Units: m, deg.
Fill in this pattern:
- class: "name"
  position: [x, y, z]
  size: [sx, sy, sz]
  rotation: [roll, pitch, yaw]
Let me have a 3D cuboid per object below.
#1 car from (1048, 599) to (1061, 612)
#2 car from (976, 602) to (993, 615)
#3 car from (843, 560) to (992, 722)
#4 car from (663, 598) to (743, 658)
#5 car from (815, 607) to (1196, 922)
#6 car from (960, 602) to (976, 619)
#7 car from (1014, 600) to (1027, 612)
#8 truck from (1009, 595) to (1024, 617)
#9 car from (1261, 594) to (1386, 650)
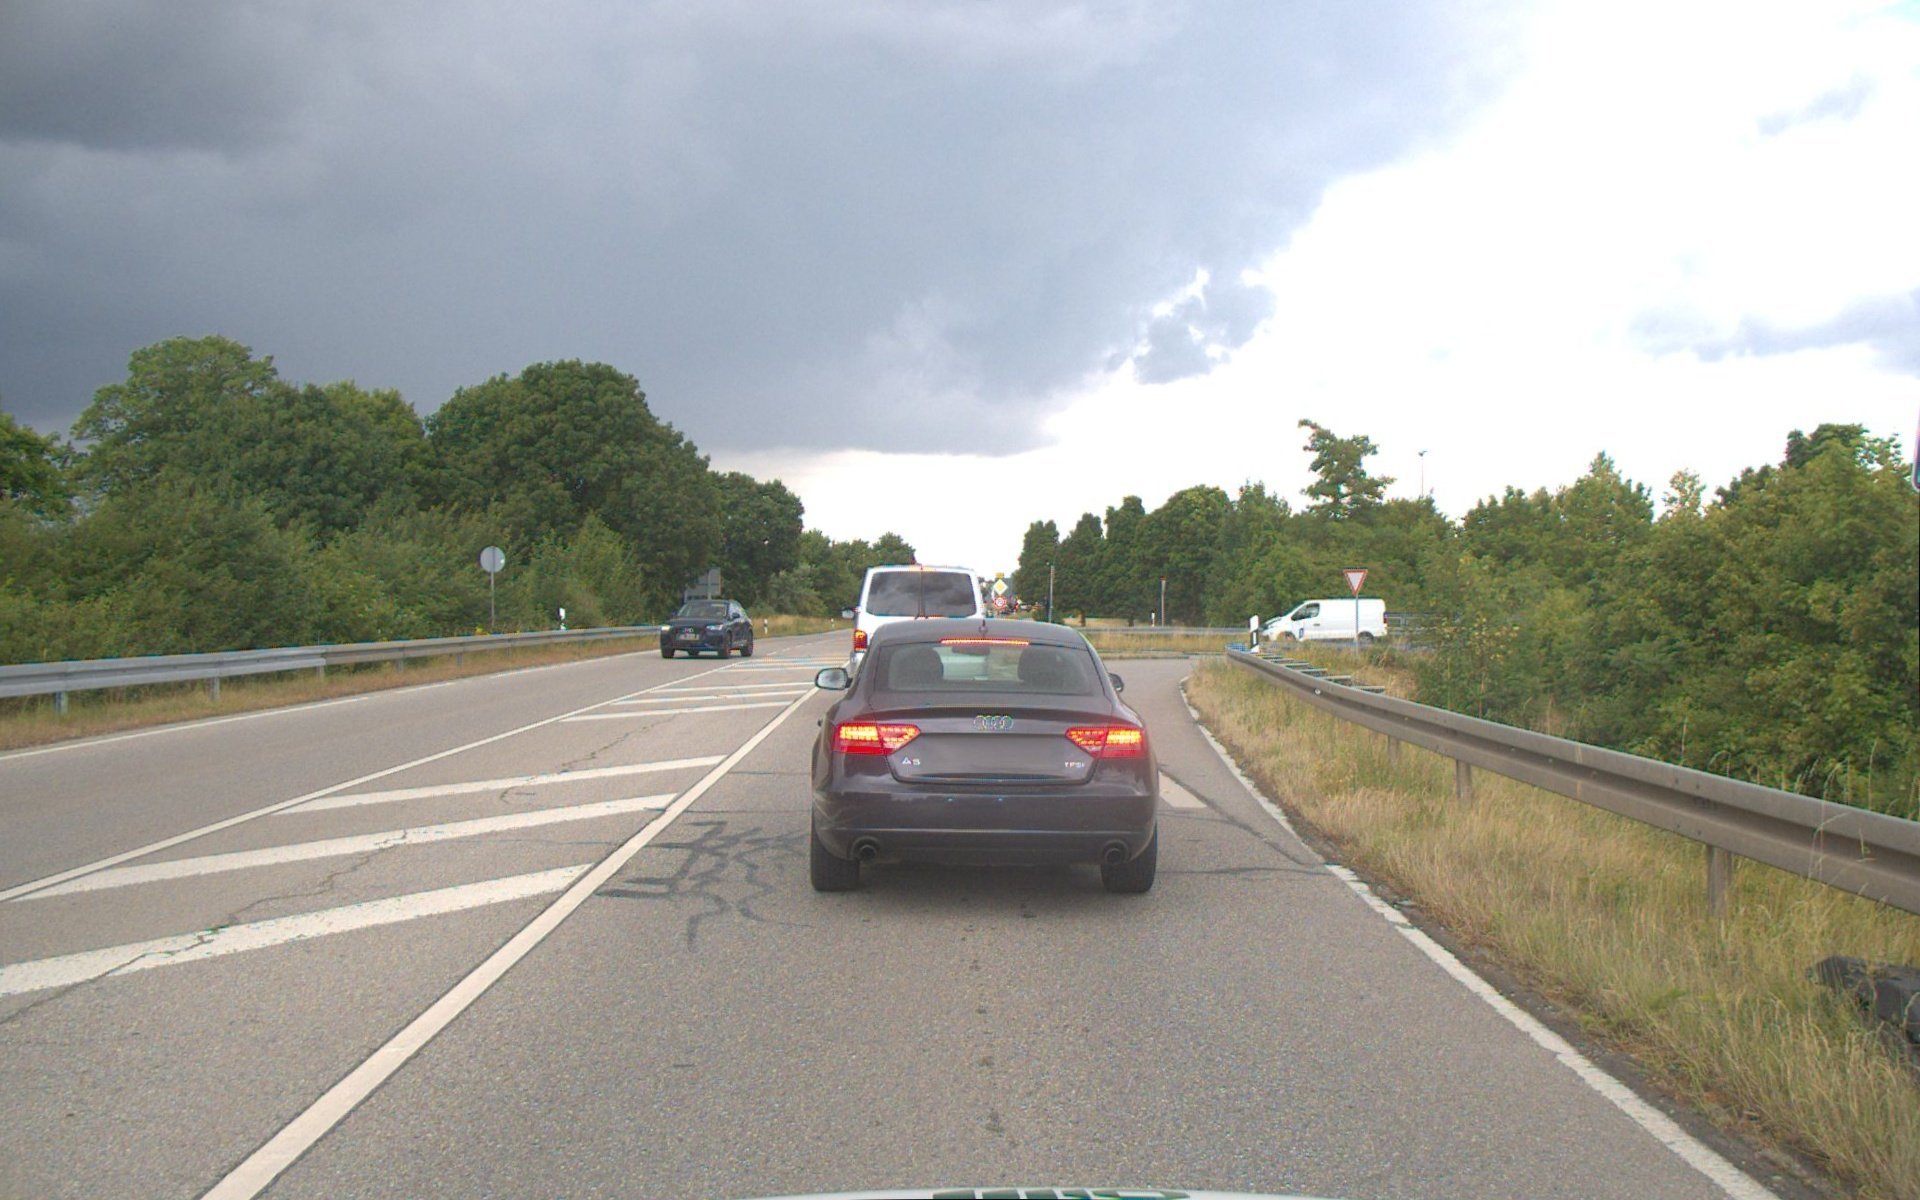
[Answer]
- class: "car"
  position: [13.698, 0.794, 239.054]
  size: [1.836, 1.722, 4.002]
  rotation: [1, 0, 4]
- class: "car"
  position: [3.365, 1.183, 230.582]
  size: [2.161, 1.610, 4.377]
  rotation: [1, 0, -2]
- class: "car"
  position: [-0.613, 0.520, 23.205]
  size: [1.872, 2.049, 3.998]
  rotation: [1, 0, -2]
- class: "car"
  position: [-7.088, 0.749, 45.940]
  size: [1.675, 1.545, 4.208]
  rotation: [1, 0, -2]
- class: "car"
  position: [0.149, 0.764, 9.256]
  size: [1.744, 1.423, 3.335]
  rotation: [0, 0, -2]
- class: "car"
  position: [1.007, 1.364, 210.784]
  size: [1.952, 2.049, 4.000]
  rotation: [1, 0, 0]
- class: "car"
  position: [8.988, 0.828, 245.984]
  size: [1.952, 1.722, 4.000]
  rotation: [1, 0, 1]
- class: "truck"
  position: [7.704, 0.807, 227.808]
  size: [1.952, 2.969, 5.794]
  rotation: [1, 0, 1]
- class: "car"
  position: [14.394, 0.846, 65.730]
  size: [4.756, 2.101, 2.089]
  rotation: [1, 0, 10]
